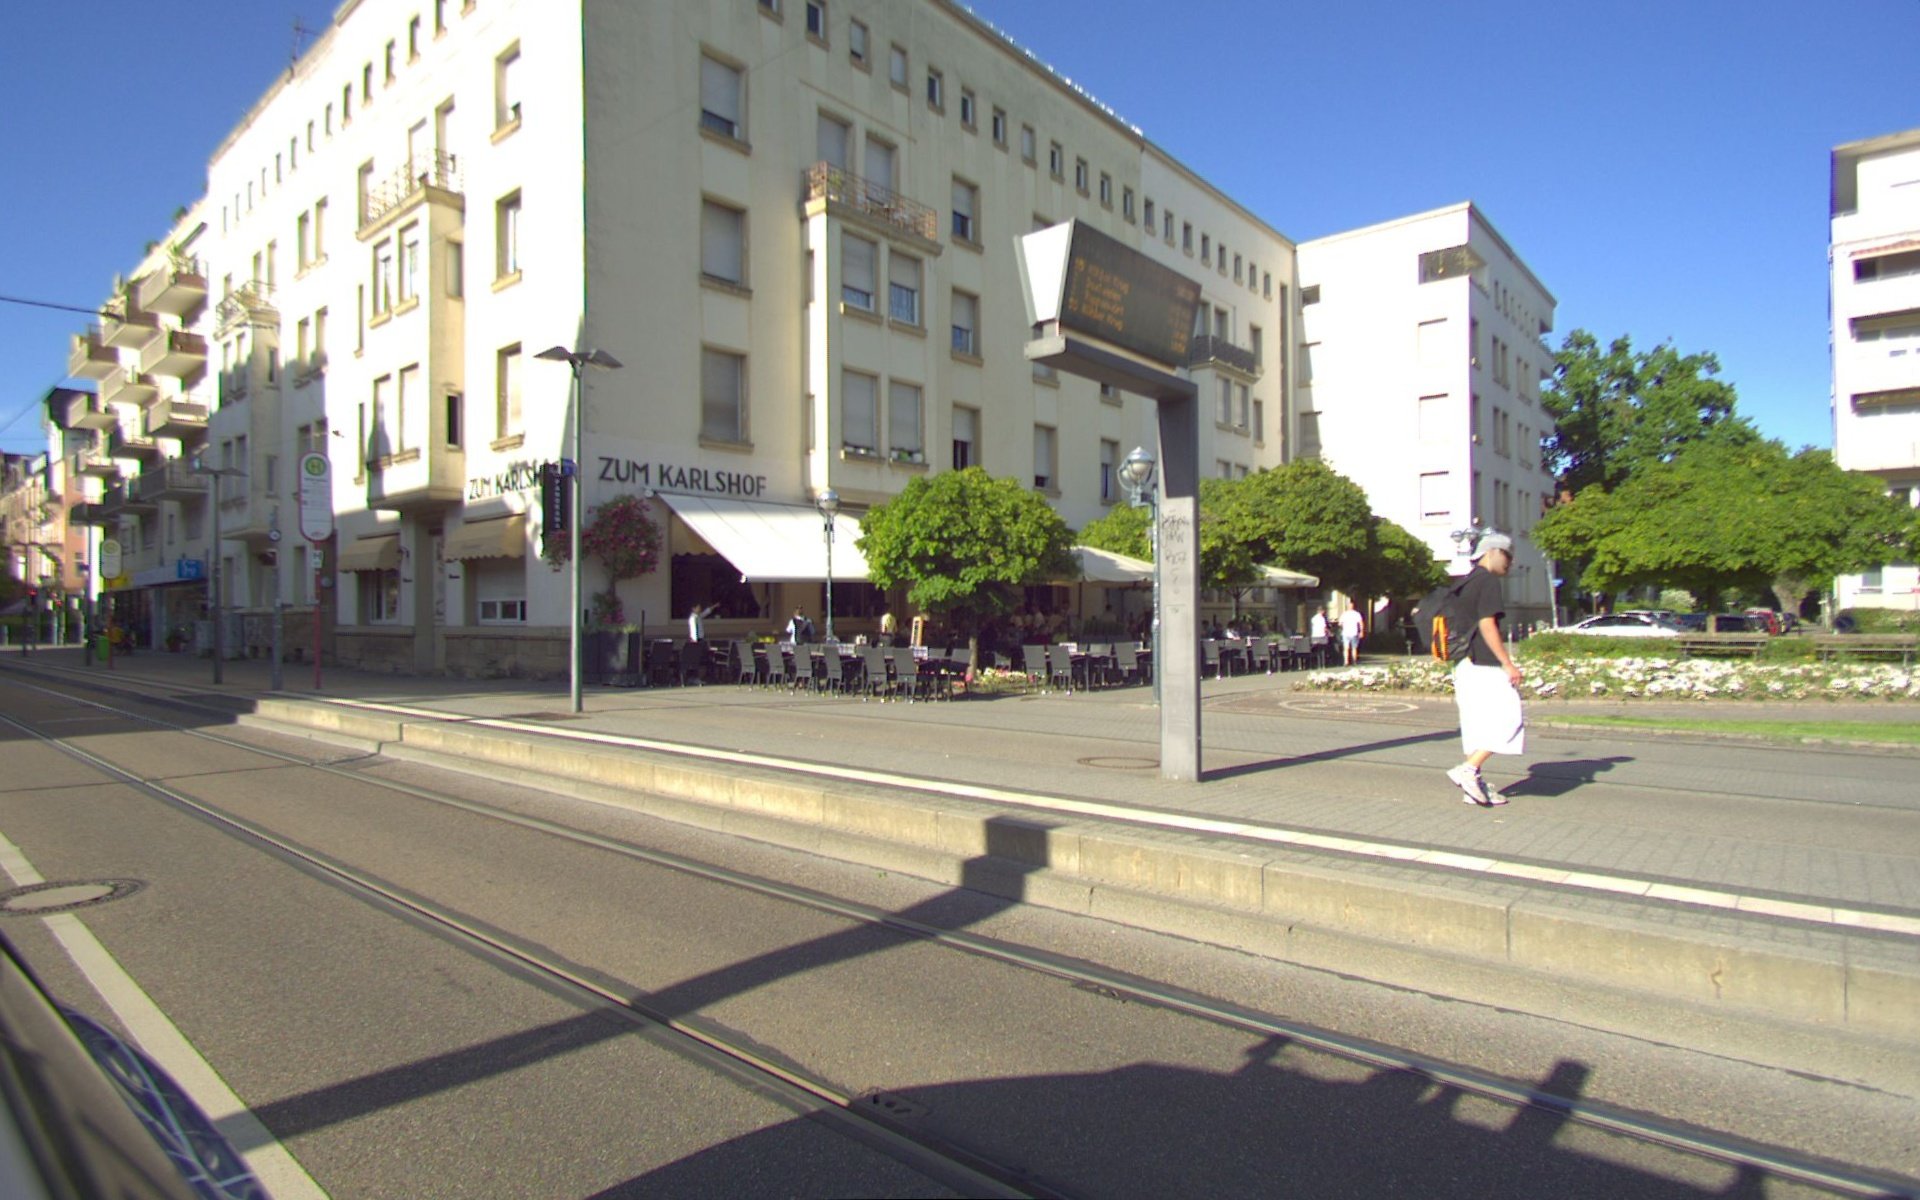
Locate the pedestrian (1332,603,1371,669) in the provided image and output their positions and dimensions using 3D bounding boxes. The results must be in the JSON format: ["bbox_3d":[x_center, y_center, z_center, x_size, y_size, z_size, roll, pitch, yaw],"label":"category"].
[{"bbox_3d":[10.610,0.977,27.435,0.710,1.750,0.673,-2,-4,1],"label":"pedestrian"}]

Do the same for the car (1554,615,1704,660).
[{"bbox_3d":[21.062,1.156,31.899,3.713,1.310,1.973,-1,-1,41],"label":"car"}]

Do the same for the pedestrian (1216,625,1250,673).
[{"bbox_3d":[7.489,1.340,27.753,0.672,1.280,0.636,-5,-5,36],"label":"pedestrian"}]

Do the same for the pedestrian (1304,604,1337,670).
[{"bbox_3d":[9.829,1.020,27.632,0.677,1.750,0.671,-3,-4,14],"label":"pedestrian"}]

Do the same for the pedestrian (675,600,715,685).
[{"bbox_3d":[-5.322,0.854,20.296,0.662,1.657,0.753,0,-4,-22],"label":"pedestrian"}]

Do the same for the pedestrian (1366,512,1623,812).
[{"bbox_3d":[3.272,0.369,6.297,0.958,1.693,0.998,1,-2,-12],"label":"pedestrian"}]

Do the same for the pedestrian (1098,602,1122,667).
[{"bbox_3d":[4.298,0.986,29.032,0.641,1.837,0.576,-1,-1,5],"label":"pedestrian"}]

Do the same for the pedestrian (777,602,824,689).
[{"bbox_3d":[-3.166,0.908,20.053,0.671,1.657,0.670,-3,-4,16],"label":"pedestrian"}]

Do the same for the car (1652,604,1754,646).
[{"bbox_3d":[27.532,0.935,37.544,2.932,1.497,1.399,-2,-1,41],"label":"car"}]

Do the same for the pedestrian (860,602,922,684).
[{"bbox_3d":[-1.455,0.919,21.356,0.755,1.657,1.053,-5,-5,36],"label":"pedestrian"}]

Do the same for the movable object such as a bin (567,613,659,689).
[{"bbox_3d":[-6.707,0.961,19.571,1.127,1.410,1.302,-1,-2,40],"label":"movable object such as a bin"}]
